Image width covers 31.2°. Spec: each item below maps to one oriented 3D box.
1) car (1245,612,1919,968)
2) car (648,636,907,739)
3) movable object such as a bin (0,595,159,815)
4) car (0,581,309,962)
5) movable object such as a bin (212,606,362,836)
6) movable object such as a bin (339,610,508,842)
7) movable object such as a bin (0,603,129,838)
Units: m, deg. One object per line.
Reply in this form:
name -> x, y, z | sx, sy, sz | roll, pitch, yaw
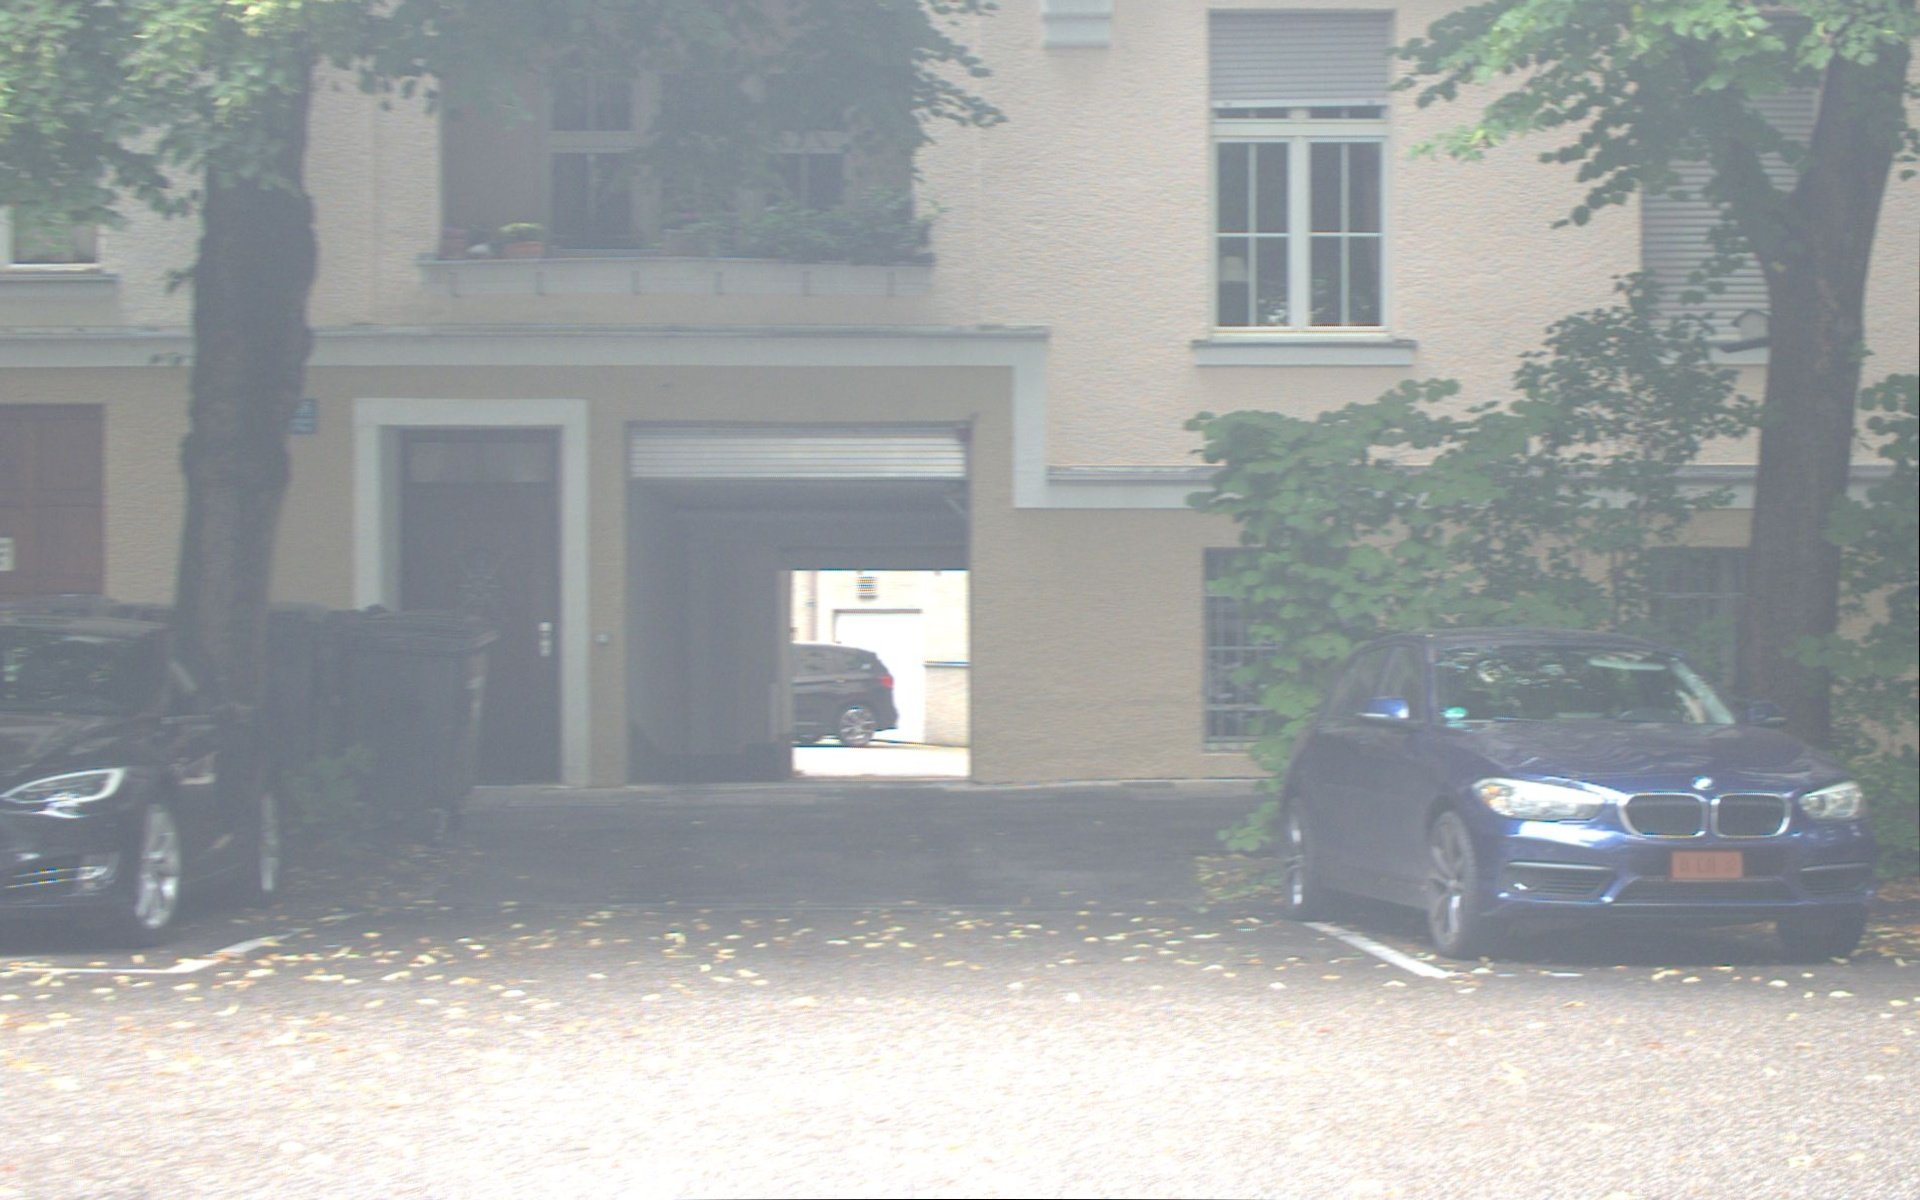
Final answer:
car -> 2.646, 0.768, 15.598 | 1.838, 1.378, 4.343 | 0, -1, -7
car -> -2.834, 1.340, 52.959 | 3.844, 1.513, 1.657 | 1, 0, -8
movable object such as a bin -> -5.738, 0.656, 21.892 | 1.117, 1.344, 0.864 | 1, 1, -5
car -> -4.174, 0.717, 15.451 | 1.704, 1.462, 4.288 | 2, -2, -1
movable object such as a bin -> -4.091, 0.714, 20.986 | 0.712, 1.343, 1.373 | 0, 0, -3
movable object such as a bin -> -3.193, 0.732, 20.584 | 0.862, 1.301, 1.432 | 2, 0, -5
movable object such as a bin -> -5.667, 0.703, 20.622 | 1.149, 1.344, 1.157 | 1, 1, -5
